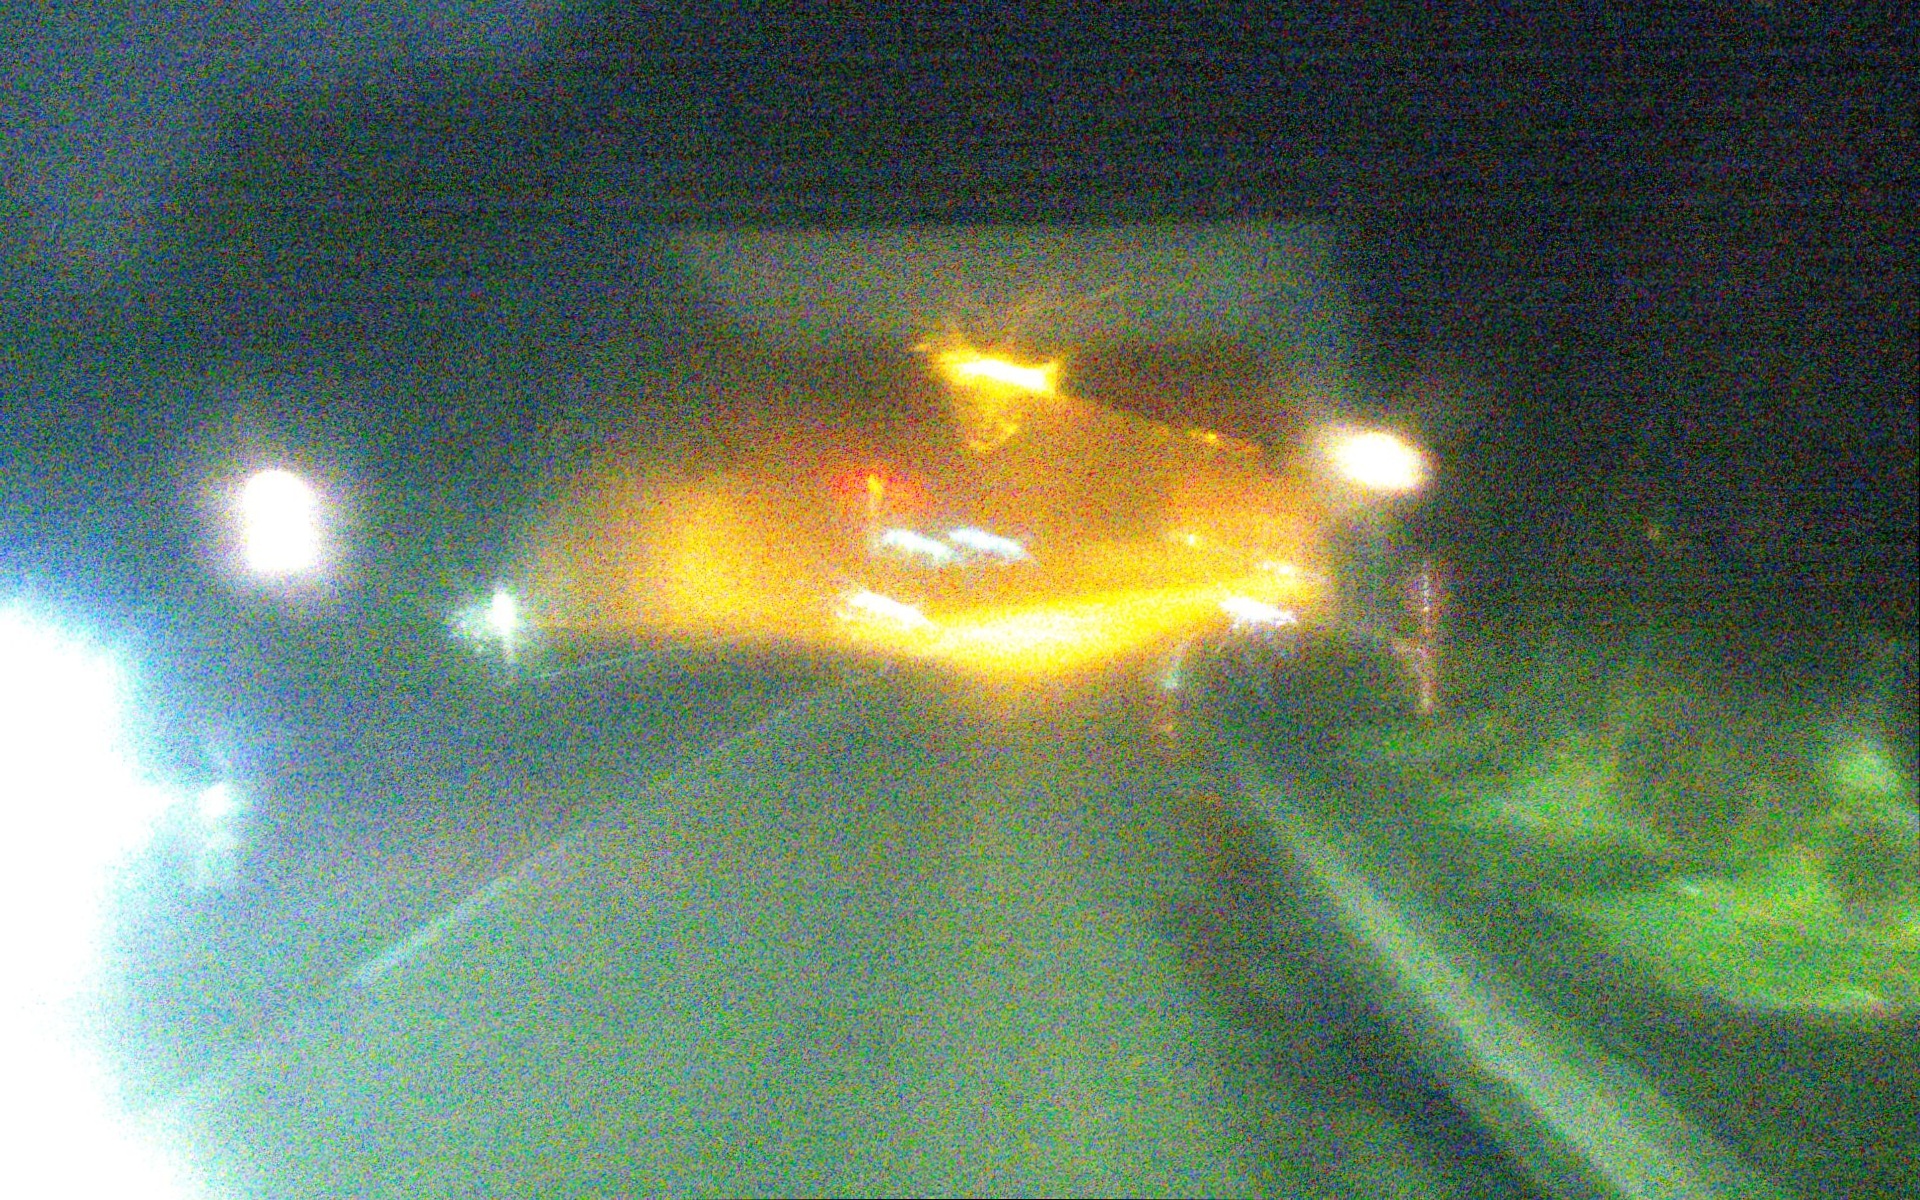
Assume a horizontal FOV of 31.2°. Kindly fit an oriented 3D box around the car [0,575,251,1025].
[{"bbox_3d":[-3.736,0.593,12.157,1.590,1.375,4.325,1,0,-1],"label":"car"}]
